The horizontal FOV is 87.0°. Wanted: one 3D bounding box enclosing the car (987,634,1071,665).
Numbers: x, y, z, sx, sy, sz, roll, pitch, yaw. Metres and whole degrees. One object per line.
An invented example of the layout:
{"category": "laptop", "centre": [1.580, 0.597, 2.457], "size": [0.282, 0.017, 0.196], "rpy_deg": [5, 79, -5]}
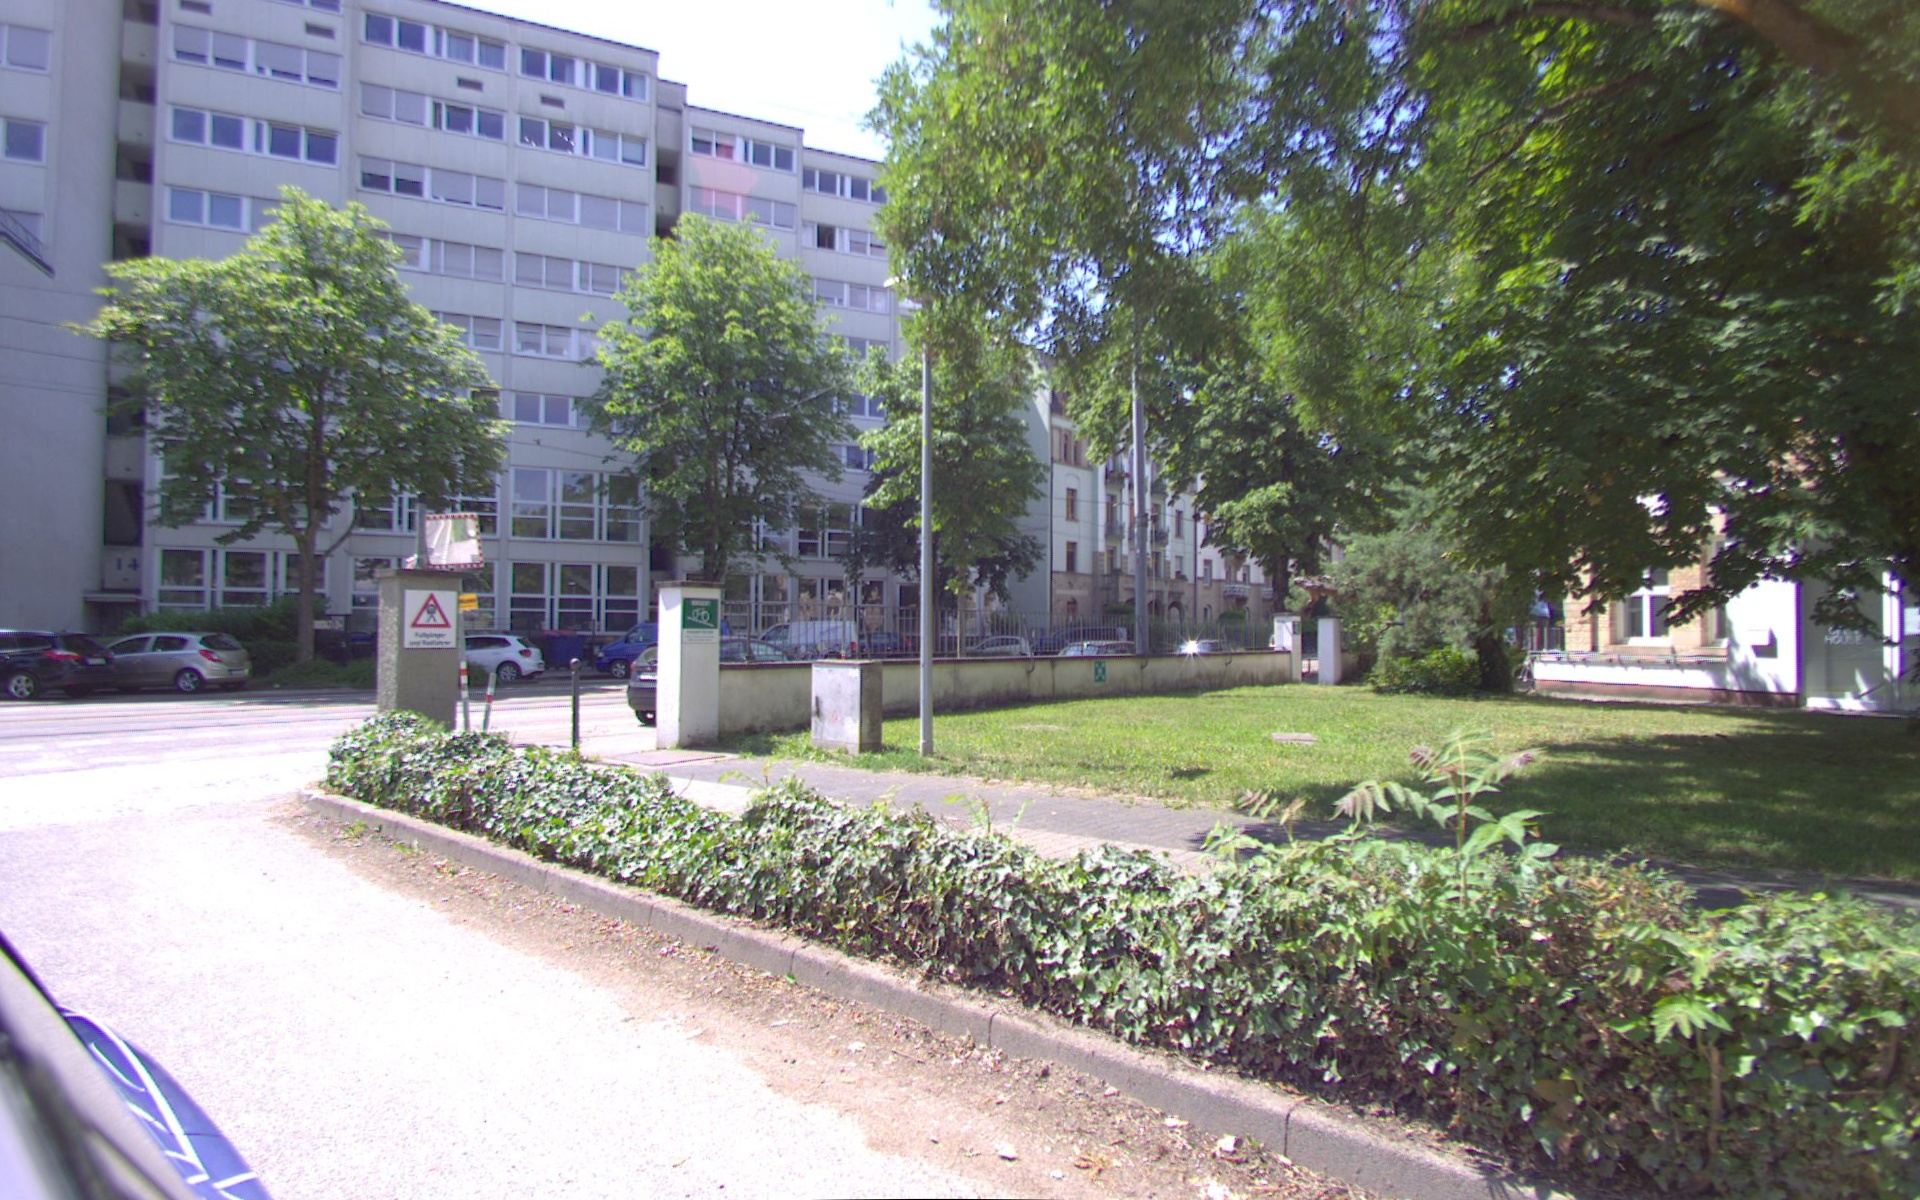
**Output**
{"category": "car", "centre": [3.607, 2.570, 52.790], "size": [3.974, 1.519, 1.933], "rpy_deg": [-1, -3, 23]}

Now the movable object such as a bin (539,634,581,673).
{"category": "movable object such as a bin", "centre": [-14.753, 1.971, 37.308], "size": [1.163, 1.409, 1.039], "rpy_deg": [2, -3, -42]}

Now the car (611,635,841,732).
{"category": "car", "centre": [-3.895, 1.383, 17.303], "size": [1.586, 1.468, 3.680], "rpy_deg": [-5, -5, 36]}

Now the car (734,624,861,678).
{"category": "car", "centre": [-6.249, 1.966, 39.212], "size": [4.569, 2.029, 1.998], "rpy_deg": [0, -2, 3]}

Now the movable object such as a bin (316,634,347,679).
{"category": "movable object such as a bin", "centre": [-20.321, 1.827, 32.719], "size": [0.790, 1.416, 0.769], "rpy_deg": [1, -3, -36]}

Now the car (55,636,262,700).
{"category": "car", "centre": [-19.133, 1.608, 24.293], "size": [3.485, 1.473, 1.756], "rpy_deg": [0, -2, -6]}

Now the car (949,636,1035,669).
{"category": "car", "centre": [1.545, 2.561, 49.463], "size": [3.938, 1.397, 1.753], "rpy_deg": [3, -1, -6]}

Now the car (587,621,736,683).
{"category": "car", "centre": [-10.069, 1.760, 34.473], "size": [4.560, 2.029, 2.002], "rpy_deg": [0, -2, -5]}

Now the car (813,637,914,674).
{"category": "car", "centre": [-3.952, 2.281, 41.821], "size": [3.951, 1.497, 1.667], "rpy_deg": [0, -2, 6]}

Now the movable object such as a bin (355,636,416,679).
{"category": "movable object such as a bin", "centre": [-18.569, 1.846, 32.713], "size": [1.126, 1.340, 1.432], "rpy_deg": [-3, -3, 41]}

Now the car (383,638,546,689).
{"category": "car", "centre": [-14.360, 1.829, 29.499], "size": [3.919, 1.424, 1.717], "rpy_deg": [0, -2, -6]}

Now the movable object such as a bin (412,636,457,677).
{"category": "movable object such as a bin", "centre": [-17.619, 1.889, 33.945], "size": [0.971, 1.340, 1.062], "rpy_deg": [-3, -3, 41]}

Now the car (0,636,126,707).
{"category": "car", "centre": [-20.981, 1.526, 21.981], "size": [4.132, 1.481, 1.756], "rpy_deg": [0, -2, -6]}

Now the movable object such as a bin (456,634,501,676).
{"category": "movable object such as a bin", "centre": [-16.737, 1.899, 35.182], "size": [1.163, 1.409, 1.039], "rpy_deg": [2, -3, -42]}

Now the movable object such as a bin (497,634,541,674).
{"category": "movable object such as a bin", "centre": [-15.785, 1.934, 36.206], "size": [1.163, 1.409, 1.039], "rpy_deg": [2, -3, -42]}

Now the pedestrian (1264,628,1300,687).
{"category": "pedestrian", "centre": [8.838, 1.575, 27.785], "size": [0.696, 1.579, 0.734], "rpy_deg": [-2, -3, 38]}
